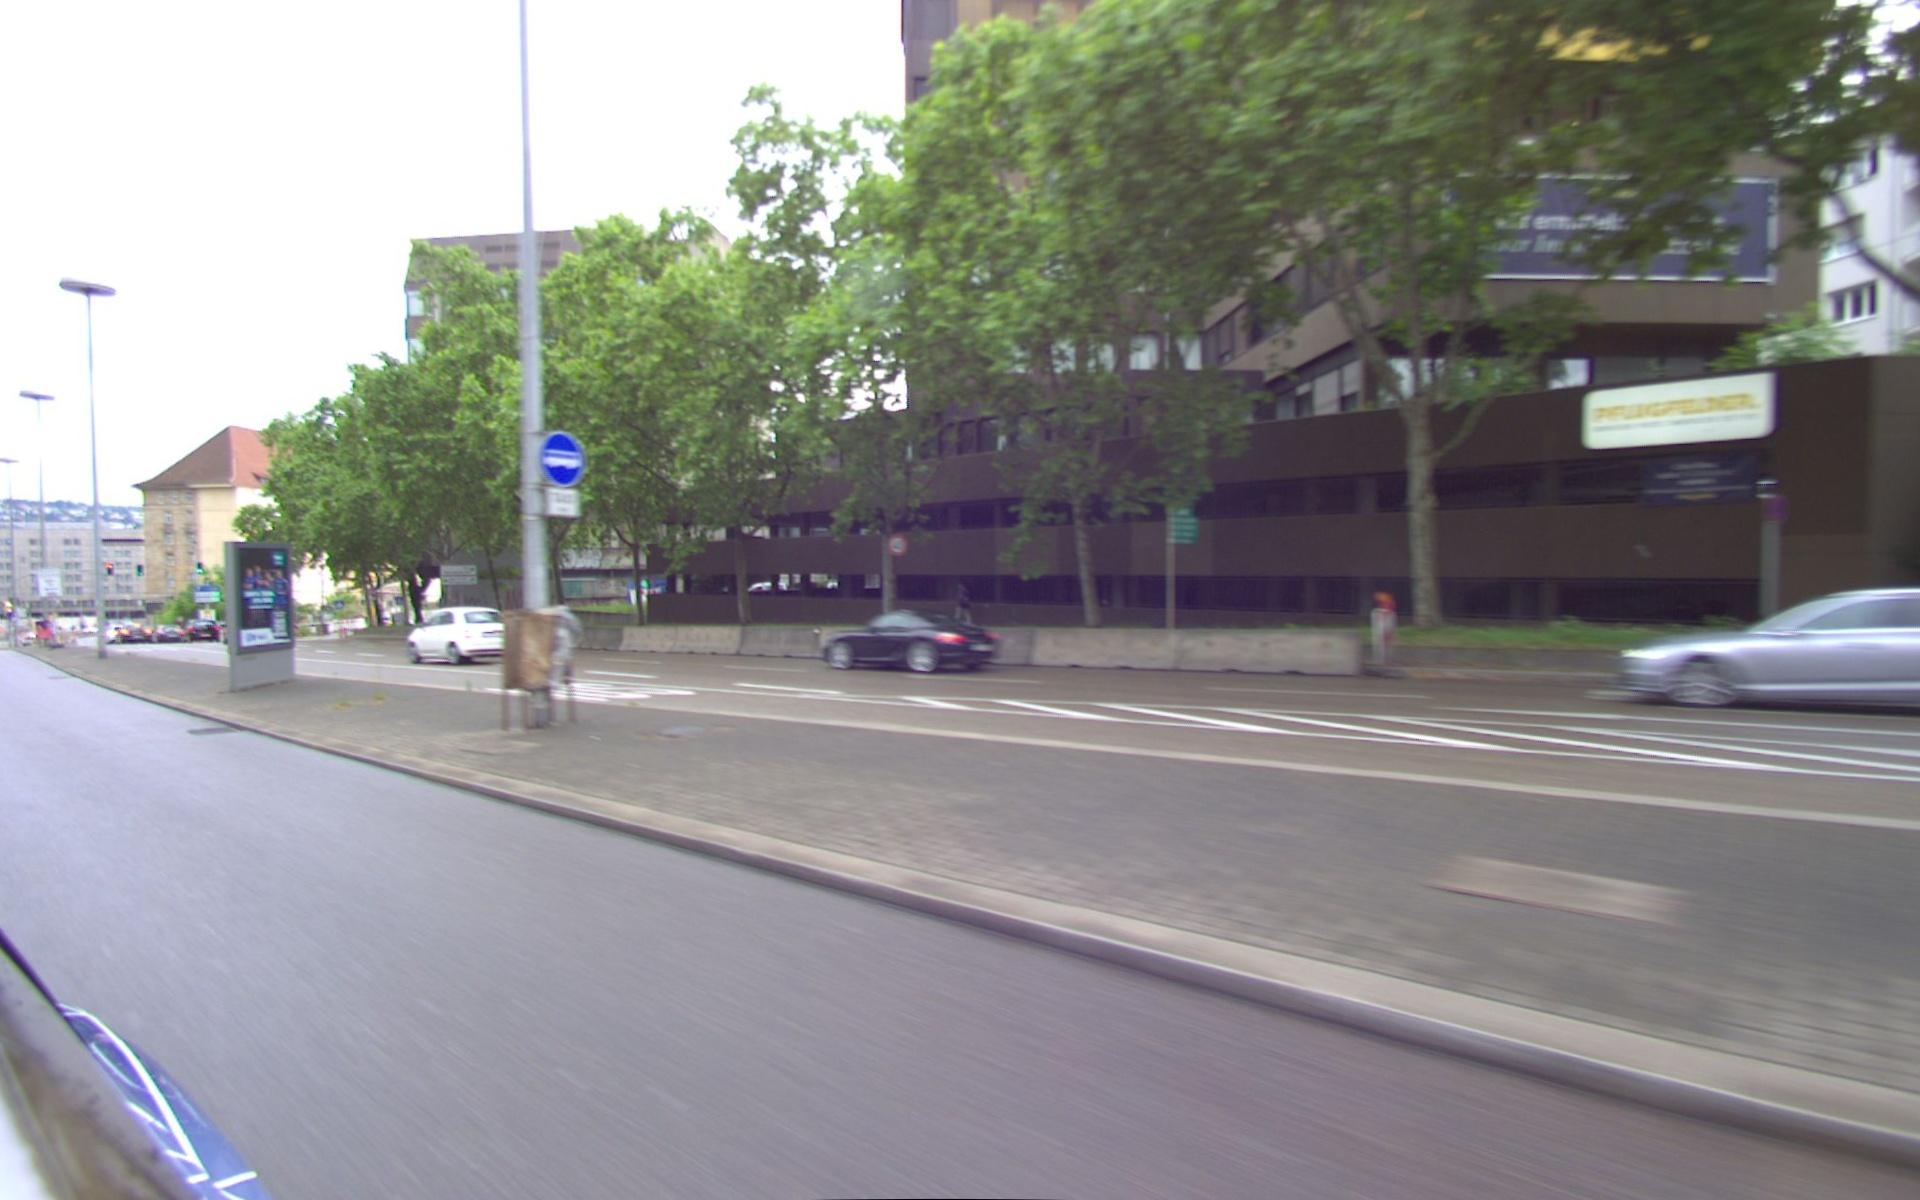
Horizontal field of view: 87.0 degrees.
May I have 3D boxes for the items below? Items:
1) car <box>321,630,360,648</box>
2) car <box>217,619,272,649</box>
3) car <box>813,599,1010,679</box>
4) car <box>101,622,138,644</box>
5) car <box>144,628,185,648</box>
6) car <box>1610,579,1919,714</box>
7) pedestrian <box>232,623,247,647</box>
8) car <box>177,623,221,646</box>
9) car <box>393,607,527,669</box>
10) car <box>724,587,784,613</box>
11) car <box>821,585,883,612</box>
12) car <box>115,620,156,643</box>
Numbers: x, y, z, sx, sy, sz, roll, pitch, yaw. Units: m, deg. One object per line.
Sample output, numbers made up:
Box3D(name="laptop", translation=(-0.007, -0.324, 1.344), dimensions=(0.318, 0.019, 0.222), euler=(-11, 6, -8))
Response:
Box3D(name="car", translation=(-55.057, 3.488, 89.891), dimensions=(4.508, 1.511, 1.911), euler=(-2, -1, 45))
Box3D(name="car", translation=(-38.637, 1.826, 54.596), dimensions=(1.910, 1.511, 4.177), euler=(0, -2, -42))
Box3D(name="car", translation=(-1.098, 0.792, 21.480), dimensions=(4.169, 1.530, 1.735), euler=(-1, -1, 42))
Box3D(name="car", translation=(-61.890, 2.393, 74.505), dimensions=(3.865, 1.497, 1.774), euler=(-1, 0, 45))
Box3D(name="car", translation=(-60.048, 2.878, 76.369), dimensions=(4.508, 1.447, 1.911), euler=(-2, -1, 45))
Box3D(name="car", translation=(10.720, 0.506, 11.996), dimensions=(4.876, 1.458, 1.974), euler=(-1, -1, 39))
Box3D(name="pedestrian", translation=(-61.984, 2.996, 87.069), dimensions=(0.657, 2.029, 0.807), euler=(-1, -1, 14))
Box3D(name="car", translation=(-50.124, 2.255, 66.645), dimensions=(1.911, 1.447, 4.079), euler=(0, -1, -43))
Box3D(name="car", translation=(-13.344, 0.983, 26.935), dimensions=(3.735, 1.530, 1.737), euler=(-1, -1, 38))
Box3D(name="car", translation=(-14.798, 0.029, 72.603), dimensions=(3.931, 1.730, 2.006), euler=(-1, -1, -21))
Box3D(name="car", translation=(-7.294, -0.104, 68.431), dimensions=(3.998, 1.730, 1.973), euler=(-1, -1, 41))
Box3D(name="car", translation=(-57.025, 2.148, 69.972), dimensions=(3.865, 1.497, 1.774), euler=(-1, 0, 45))
